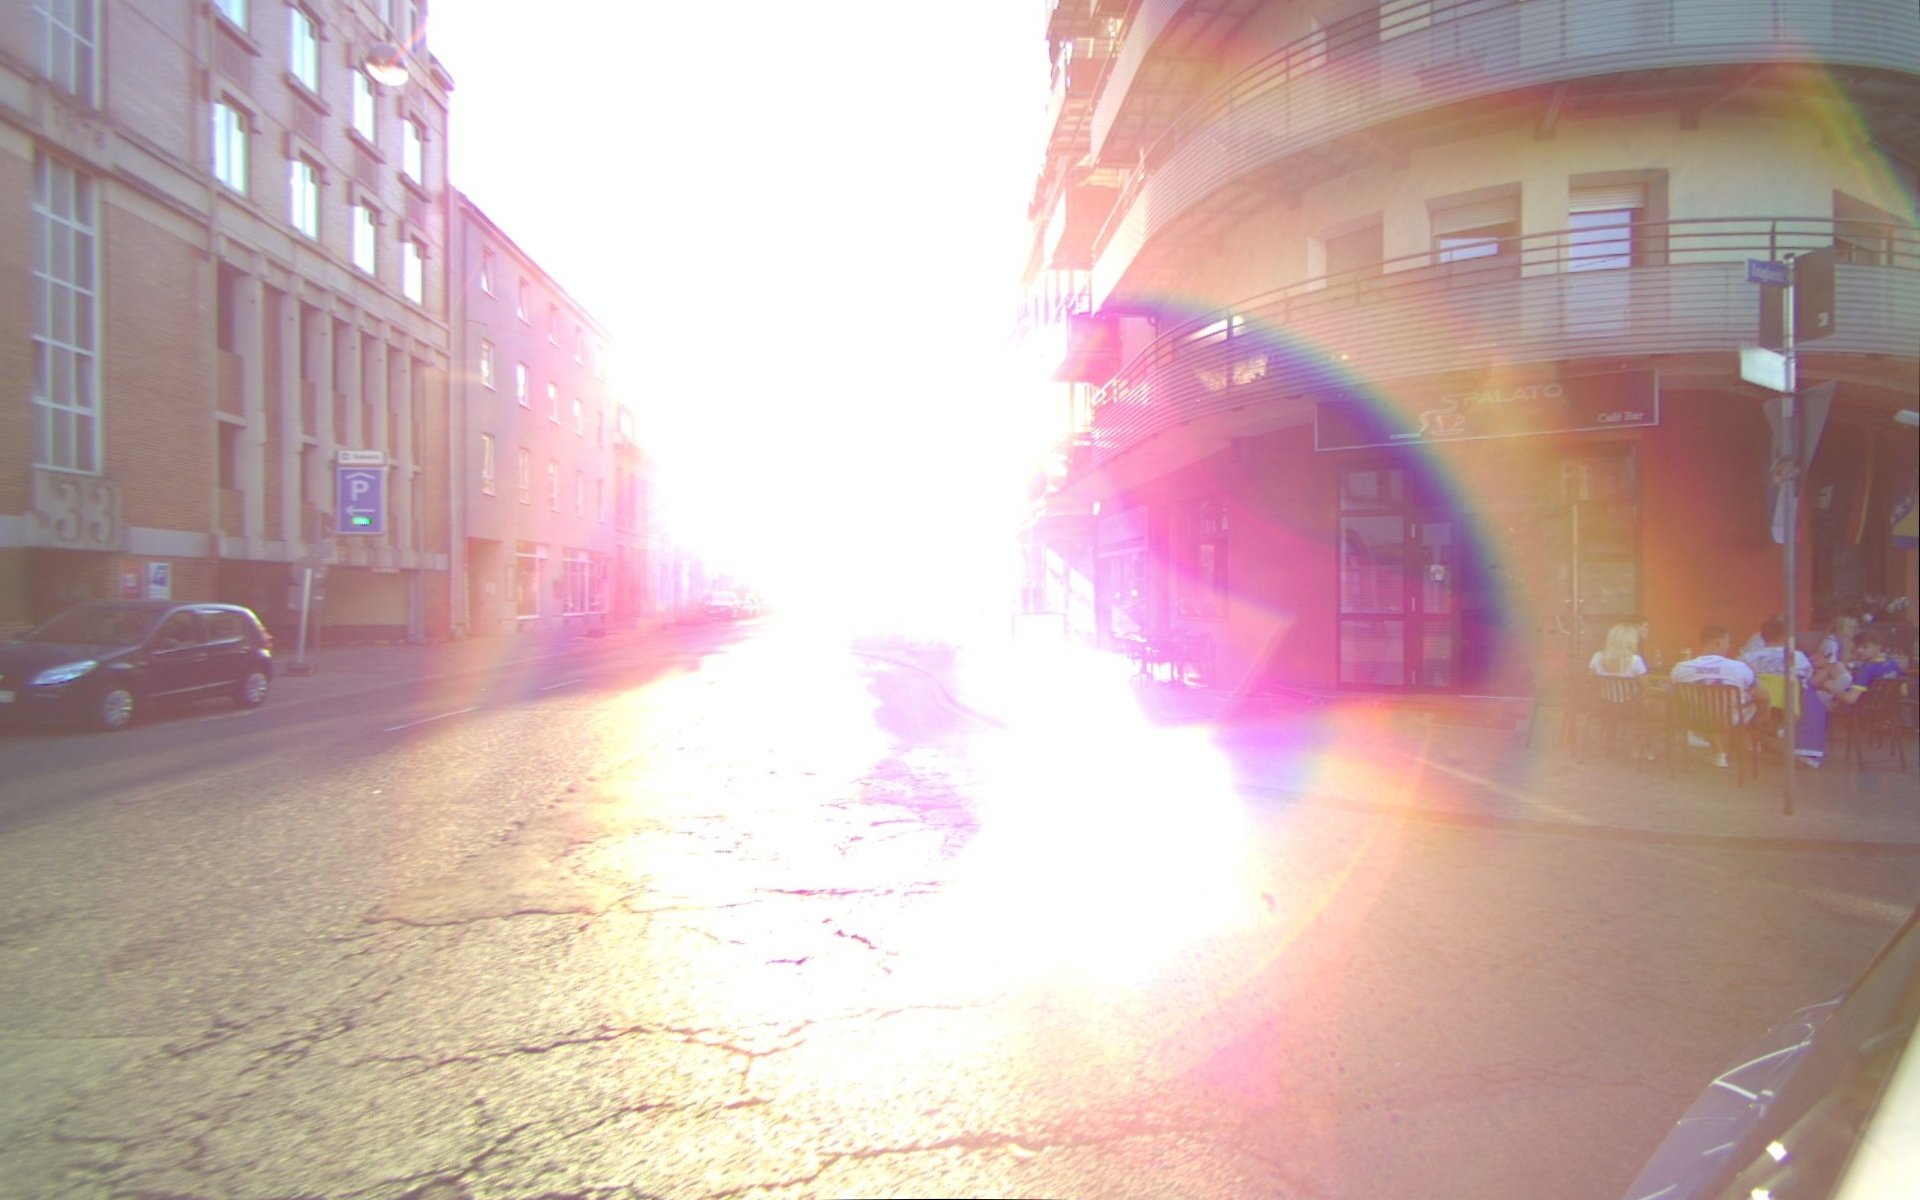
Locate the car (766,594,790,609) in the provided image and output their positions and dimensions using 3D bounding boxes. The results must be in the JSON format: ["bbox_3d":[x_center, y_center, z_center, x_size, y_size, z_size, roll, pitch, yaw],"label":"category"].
[{"bbox_3d":[-17.537,0.098,97.657,1.960,1.404,4.004,0,0,-6],"label":"car"}]

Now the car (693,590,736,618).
[{"bbox_3d":[-14.538,0.202,60.092,1.960,1.571,4.004,0,0,-5],"label":"car"}]

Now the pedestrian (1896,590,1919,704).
[{"bbox_3d":[12.501,0.595,12.856,0.590,1.439,0.715,0,-1,-29],"label":"pedestrian"}]

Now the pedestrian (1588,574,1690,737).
[{"bbox_3d":[6.815,0.537,10.199,0.707,1.556,0.845,-1,-1,27],"label":"pedestrian"}]

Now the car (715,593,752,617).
[{"bbox_3d":[-15.037,0.299,67.400,1.960,1.571,4.004,0,0,-5],"label":"car"}]

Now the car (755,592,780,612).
[{"bbox_3d":[-16.095,0.140,84.727,1.722,1.571,4.291,0,0,-6],"label":"car"}]

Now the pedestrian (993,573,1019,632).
[{"bbox_3d":[1.565,0.083,34.279,0.715,1.973,0.742,-1,0,-10],"label":"pedestrian"}]

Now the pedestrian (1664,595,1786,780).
[{"bbox_3d":[6.276,0.668,8.335,0.766,1.399,0.828,0,1,36],"label":"pedestrian"}]

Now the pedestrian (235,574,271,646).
[{"bbox_3d":[-18.295,0.251,26.206,0.665,1.851,0.676,0,0,-27],"label":"pedestrian"}]

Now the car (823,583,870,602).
[{"bbox_3d":[-12.533,-0.807,111.513,4.788,2.039,1.987,0,0,20],"label":"car"}]

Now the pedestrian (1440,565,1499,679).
[{"bbox_3d":[8.272,0.343,16.438,0.605,1.799,0.612,0,-1,-30],"label":"pedestrian"}]

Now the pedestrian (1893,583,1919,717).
[{"bbox_3d":[11.484,0.574,11.686,0.666,1.556,0.853,0,-1,-31],"label":"pedestrian"}]

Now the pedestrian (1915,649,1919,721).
[{"bbox_3d":[10.969,0.567,10.986,0.686,1.546,0.651,0,3,-32],"label":"pedestrian"}]

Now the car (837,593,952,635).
[{"bbox_3d":[-2.384,0.484,36.183,3.918,1.438,2.003,0,0,-8],"label":"car"}]

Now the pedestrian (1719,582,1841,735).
[{"bbox_3d":[8.615,0.601,10.664,0.637,1.556,0.751,-1,-1,4],"label":"pedestrian"}]

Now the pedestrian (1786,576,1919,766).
[{"bbox_3d":[8.002,0.589,8.952,0.835,1.554,0.716,0,4,-27],"label":"pedestrian"}]

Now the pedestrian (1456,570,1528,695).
[{"bbox_3d":[8.909,0.528,16.951,0.656,2.039,0.815,0,-1,-29],"label":"pedestrian"}]

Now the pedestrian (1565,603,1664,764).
[{"bbox_3d":[5.835,0.700,9.008,0.682,1.297,0.955,0,2,37],"label":"pedestrian"}]

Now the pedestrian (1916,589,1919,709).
[{"bbox_3d":[11.993,0.598,12.094,0.550,1.452,0.668,0,1,-31],"label":"pedestrian"}]

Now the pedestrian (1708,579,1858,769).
[{"bbox_3d":[7.173,0.611,8.847,0.675,1.555,0.716,-2,1,-11],"label":"pedestrian"}]

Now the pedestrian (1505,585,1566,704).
[{"bbox_3d":[8.959,0.674,15.745,0.606,1.799,0.612,0,-1,-36],"label":"pedestrian"}]

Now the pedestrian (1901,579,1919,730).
[{"bbox_3d":[10.393,0.583,10.464,0.744,1.554,0.715,0,3,-32],"label":"pedestrian"}]

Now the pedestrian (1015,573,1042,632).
[{"bbox_3d":[2.322,0.065,34.380,0.715,1.973,0.806,-1,0,-10],"label":"pedestrian"}]

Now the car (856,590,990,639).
[{"bbox_3d":[-1.277,0.451,33.770,4.356,1.561,1.819,0,0,-5],"label":"car"}]

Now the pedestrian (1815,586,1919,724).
[{"bbox_3d":[10.588,0.607,11.766,0.768,1.523,0.770,0,0,-30],"label":"pedestrian"}]

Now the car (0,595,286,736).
[{"bbox_3d":[-10.925,0.723,13.074,1.960,1.539,4.003,0,0,-4],"label":"car"}]

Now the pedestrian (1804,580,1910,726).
[{"bbox_3d":[10.040,0.570,11.341,0.641,1.555,0.676,0,2,-30],"label":"pedestrian"}]

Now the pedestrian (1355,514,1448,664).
[{"bbox_3d":[6.190,-0.151,14.231,0.844,2.039,0.816,-1,-1,-13],"label":"pedestrian"}]
